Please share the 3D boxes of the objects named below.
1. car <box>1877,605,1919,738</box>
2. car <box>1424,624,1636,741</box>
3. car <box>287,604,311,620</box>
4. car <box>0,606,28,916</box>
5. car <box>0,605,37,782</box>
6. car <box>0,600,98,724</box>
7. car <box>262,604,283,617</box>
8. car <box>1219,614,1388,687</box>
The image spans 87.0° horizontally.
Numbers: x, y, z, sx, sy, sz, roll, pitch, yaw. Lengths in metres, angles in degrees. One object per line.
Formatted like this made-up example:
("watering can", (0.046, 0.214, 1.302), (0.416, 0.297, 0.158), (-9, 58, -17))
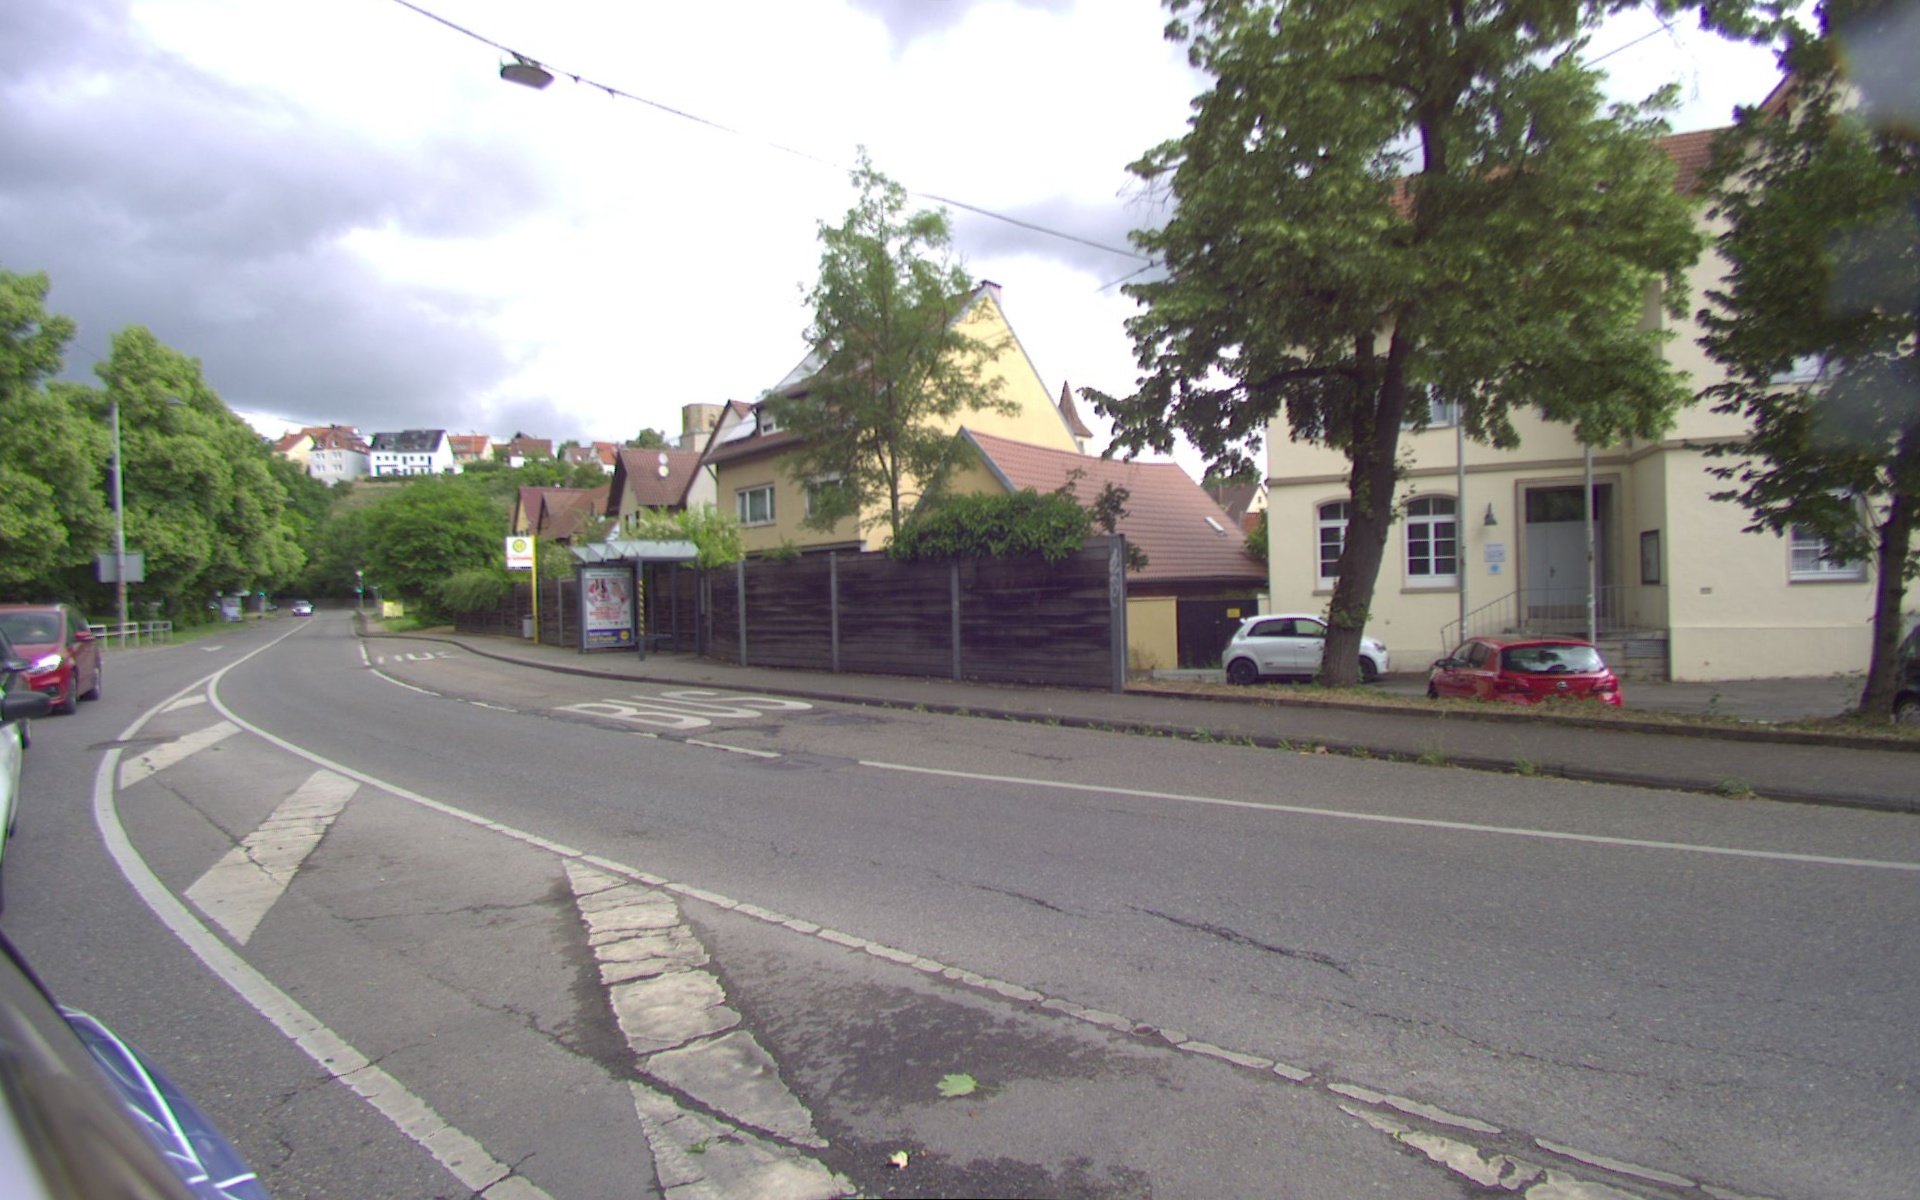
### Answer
("car", (12.691, 0.888, 11.586), (1.586, 1.644, 3.093), (-1, 0, 2))
("car", (8.118, 1.104, 14.769), (1.590, 1.389, 3.544), (-1, 0, 10))
("car", (-74.247, 1.332, 113.598), (1.818, 1.652, 4.007), (-1, 0, -40))
("car", (-6.039, 0.815, 5.275), (1.594, 1.525, 3.610), (-1, 0, -41))
("car", (-10.233, 0.852, 9.854), (1.699, 1.559, 3.787), (-1, 0, -41))
("car", (-14.518, 0.877, 15.437), (1.800, 1.685, 4.067), (-1, 0, -37))
("car", (-96.420, 1.511, 141.914), (1.884, 1.768, 4.004), (-2, 1, -43))
("car", (7.738, 1.107, 22.925), (3.487, 1.528, 1.581), (-1, 0, 20))
